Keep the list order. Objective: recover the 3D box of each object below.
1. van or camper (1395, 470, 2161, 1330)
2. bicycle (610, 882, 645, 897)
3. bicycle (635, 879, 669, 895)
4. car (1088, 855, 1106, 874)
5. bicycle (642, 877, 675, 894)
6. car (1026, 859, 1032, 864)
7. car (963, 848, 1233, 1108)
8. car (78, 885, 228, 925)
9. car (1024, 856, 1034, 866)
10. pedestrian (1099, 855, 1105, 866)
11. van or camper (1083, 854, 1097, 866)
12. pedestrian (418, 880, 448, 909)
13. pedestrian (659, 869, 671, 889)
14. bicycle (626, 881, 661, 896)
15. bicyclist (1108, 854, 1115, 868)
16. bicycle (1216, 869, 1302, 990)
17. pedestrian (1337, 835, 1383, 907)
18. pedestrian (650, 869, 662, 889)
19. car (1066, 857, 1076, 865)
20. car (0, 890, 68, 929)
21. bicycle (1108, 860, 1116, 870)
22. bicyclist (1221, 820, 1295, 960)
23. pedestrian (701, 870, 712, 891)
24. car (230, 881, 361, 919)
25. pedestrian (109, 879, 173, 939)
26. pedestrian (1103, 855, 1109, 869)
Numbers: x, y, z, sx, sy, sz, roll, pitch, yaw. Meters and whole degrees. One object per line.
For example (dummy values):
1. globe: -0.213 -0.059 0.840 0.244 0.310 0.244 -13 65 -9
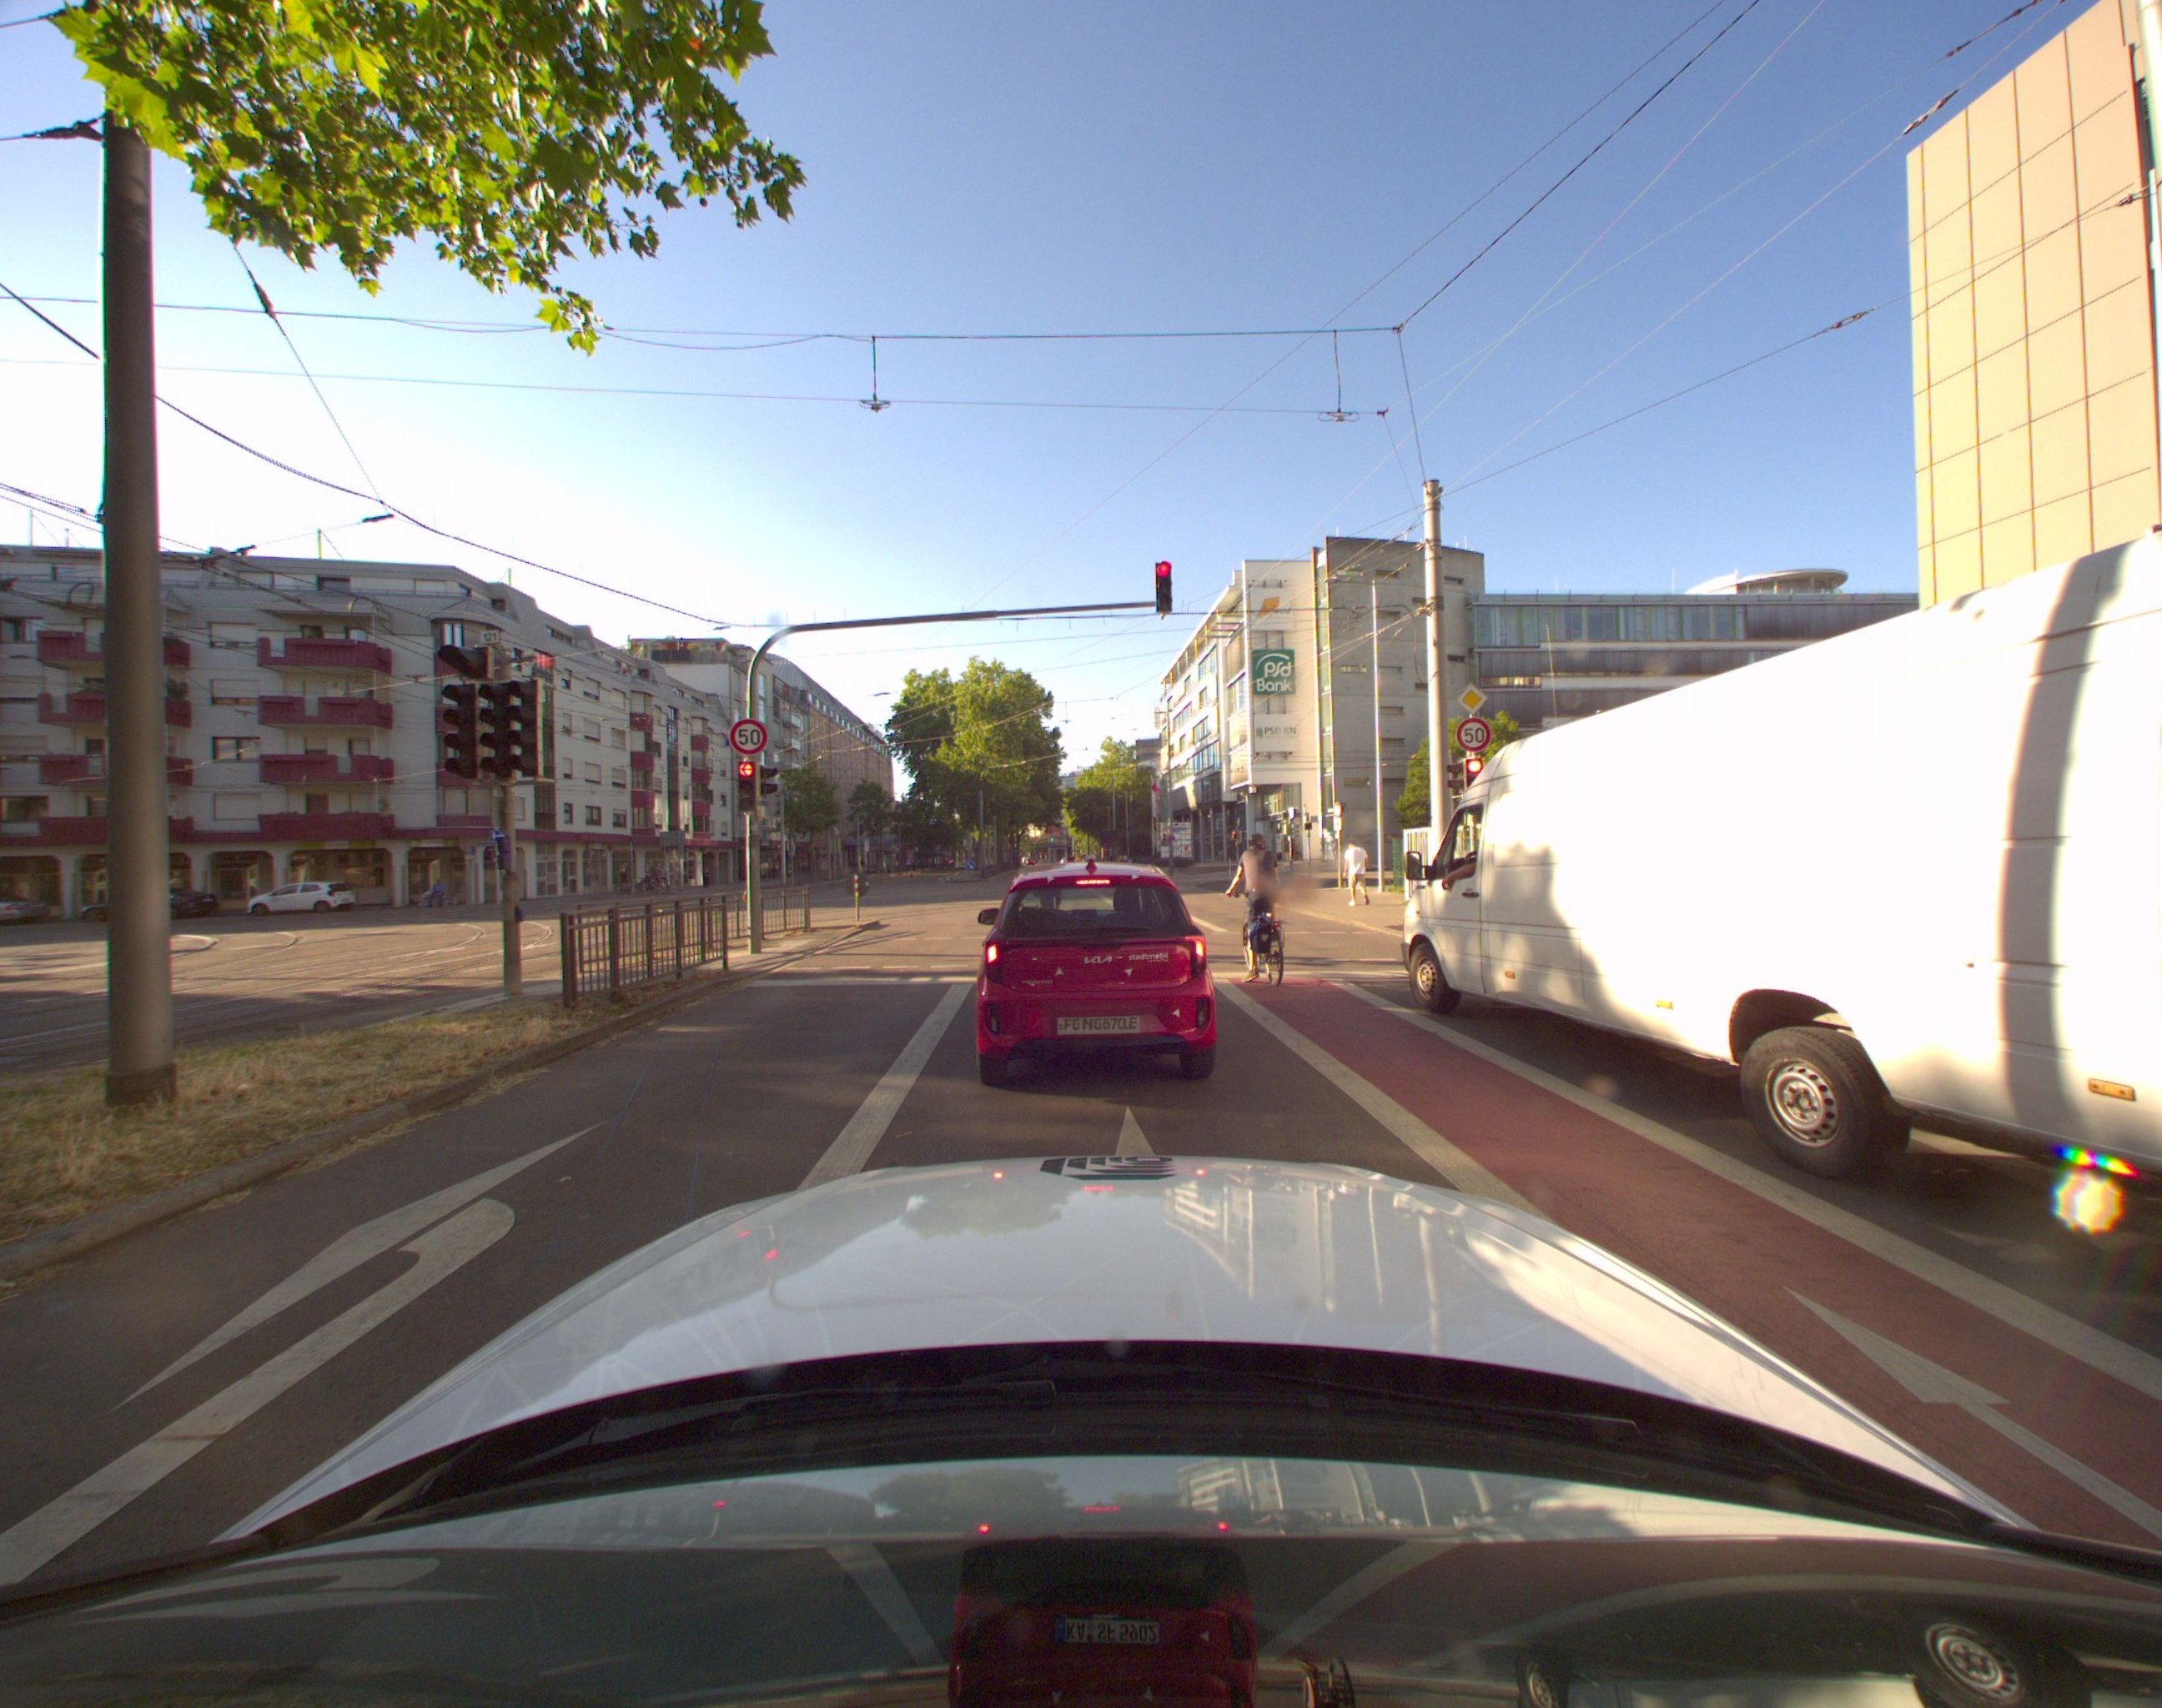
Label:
1. van or camper: 4.338 0.144 5.384 1.963 2.716 6.301 -1 0 -1
2. bicycle: -28.261 2.192 50.790 1.837 0.854 0.553 -2 0 -1
3. bicycle: -27.794 2.132 52.821 1.840 0.985 0.552 -2 0 -6
4. car: 1.523 1.004 79.741 1.631 1.800 3.328 -2 0 -1
5. bicycle: -27.708 2.065 53.436 1.840 0.985 0.552 -2 0 -6
6. car: -16.303 2.282 256.521 1.776 1.535 3.403 -1 0 -8
7. car: 0.033 0.746 6.631 1.609 1.535 3.408 -1 0 -3
8. car: -42.425 2.299 37.348 4.112 1.555 1.992 -2 0 -12
9. car: -11.223 1.558 176.098 1.991 2.013 3.992 -2 0 -6
10. pedestrian: 3.053 0.960 117.152 0.641 1.579 0.722 -5 0 -5
11. van or camper: 1.461 0.995 132.471 1.988 1.989 4.741 -1 0 -2
12. pedestrian: -32.530 2.039 40.886 0.857 1.384 0.833 -2 0 -14
13. pedestrian: -30.782 1.834 60.284 0.533 1.494 0.586 -2 0 -6
14. bicycle: -27.701 2.163 51.552 1.837 0.854 0.553 -2 0 -1
15. bicyclist: 3.605 0.811 95.901 0.718 1.603 1.090 -4 -1 4
16. bicycle: 2.130 0.849 9.984 0.647 1.281 1.967 -2 0 2
17. pedestrian: 7.331 0.445 21.458 0.774 1.823 1.216 -2 0 2
18. pedestrian: -31.380 1.838 60.120 0.533 1.494 0.586 -2 0 -6
19. car: -2.101 1.494 167.913 1.776 1.535 3.503 -1 0 -8
20. car: -48.600 2.520 35.949 4.572 1.555 1.992 -2 0 -12
21. bicycle: 3.661 1.275 96.066 0.693 1.098 1.752 -5 0 3
22. bicyclist: 2.135 0.416 9.962 0.647 1.603 1.089 -2 0 2
23. pedestrian: -29.097 2.065 63.284 0.695 1.544 1.042 -2 0 -21
24. car: -37.169 2.154 38.650 3.989 1.555 1.992 -2 0 -12
25. pedestrian: -28.789 1.666 24.961 0.733 1.752 1.017 -2 0 -6
26. pedestrian: 3.017 0.945 97.573 0.644 1.680 0.652 -2 0 3
